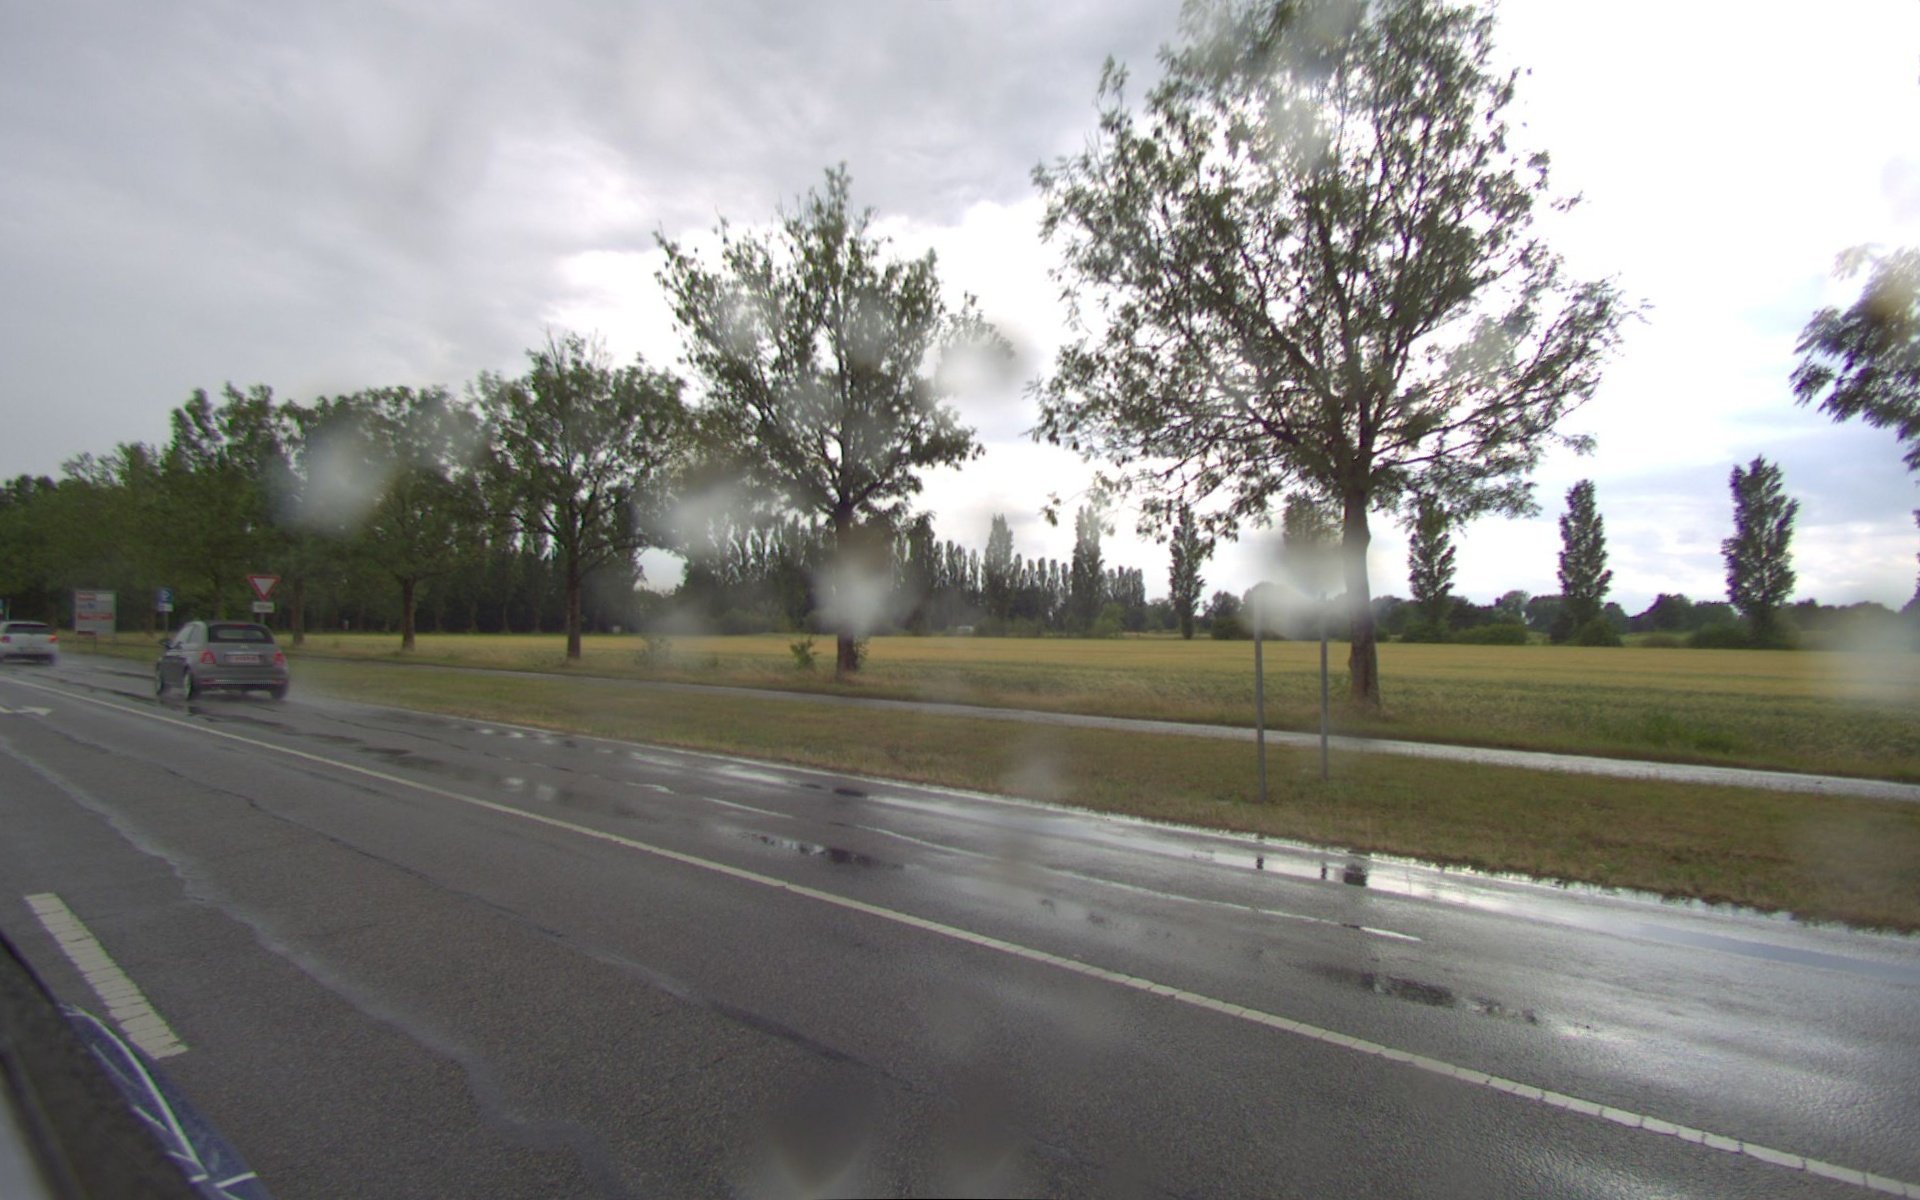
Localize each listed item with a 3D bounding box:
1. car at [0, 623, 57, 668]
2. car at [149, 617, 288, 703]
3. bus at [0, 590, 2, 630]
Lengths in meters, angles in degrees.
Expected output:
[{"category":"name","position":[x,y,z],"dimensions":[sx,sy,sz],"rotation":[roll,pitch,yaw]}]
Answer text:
[{"category":"car","position":[-32.560,1.558,34.882],"dimensions":[3.460,1.461,1.651],"rotation":[-1,-4,41]},{"category":"car","position":[-14.525,1.135,19.782],"dimensions":[3.300,1.541,1.484],"rotation":[-1,-4,42]},{"category":"bus","position":[-47.762,1.024,47.260],"dimensions":[12.465,2.934,2.920],"rotation":[-1,-3,40]}]
